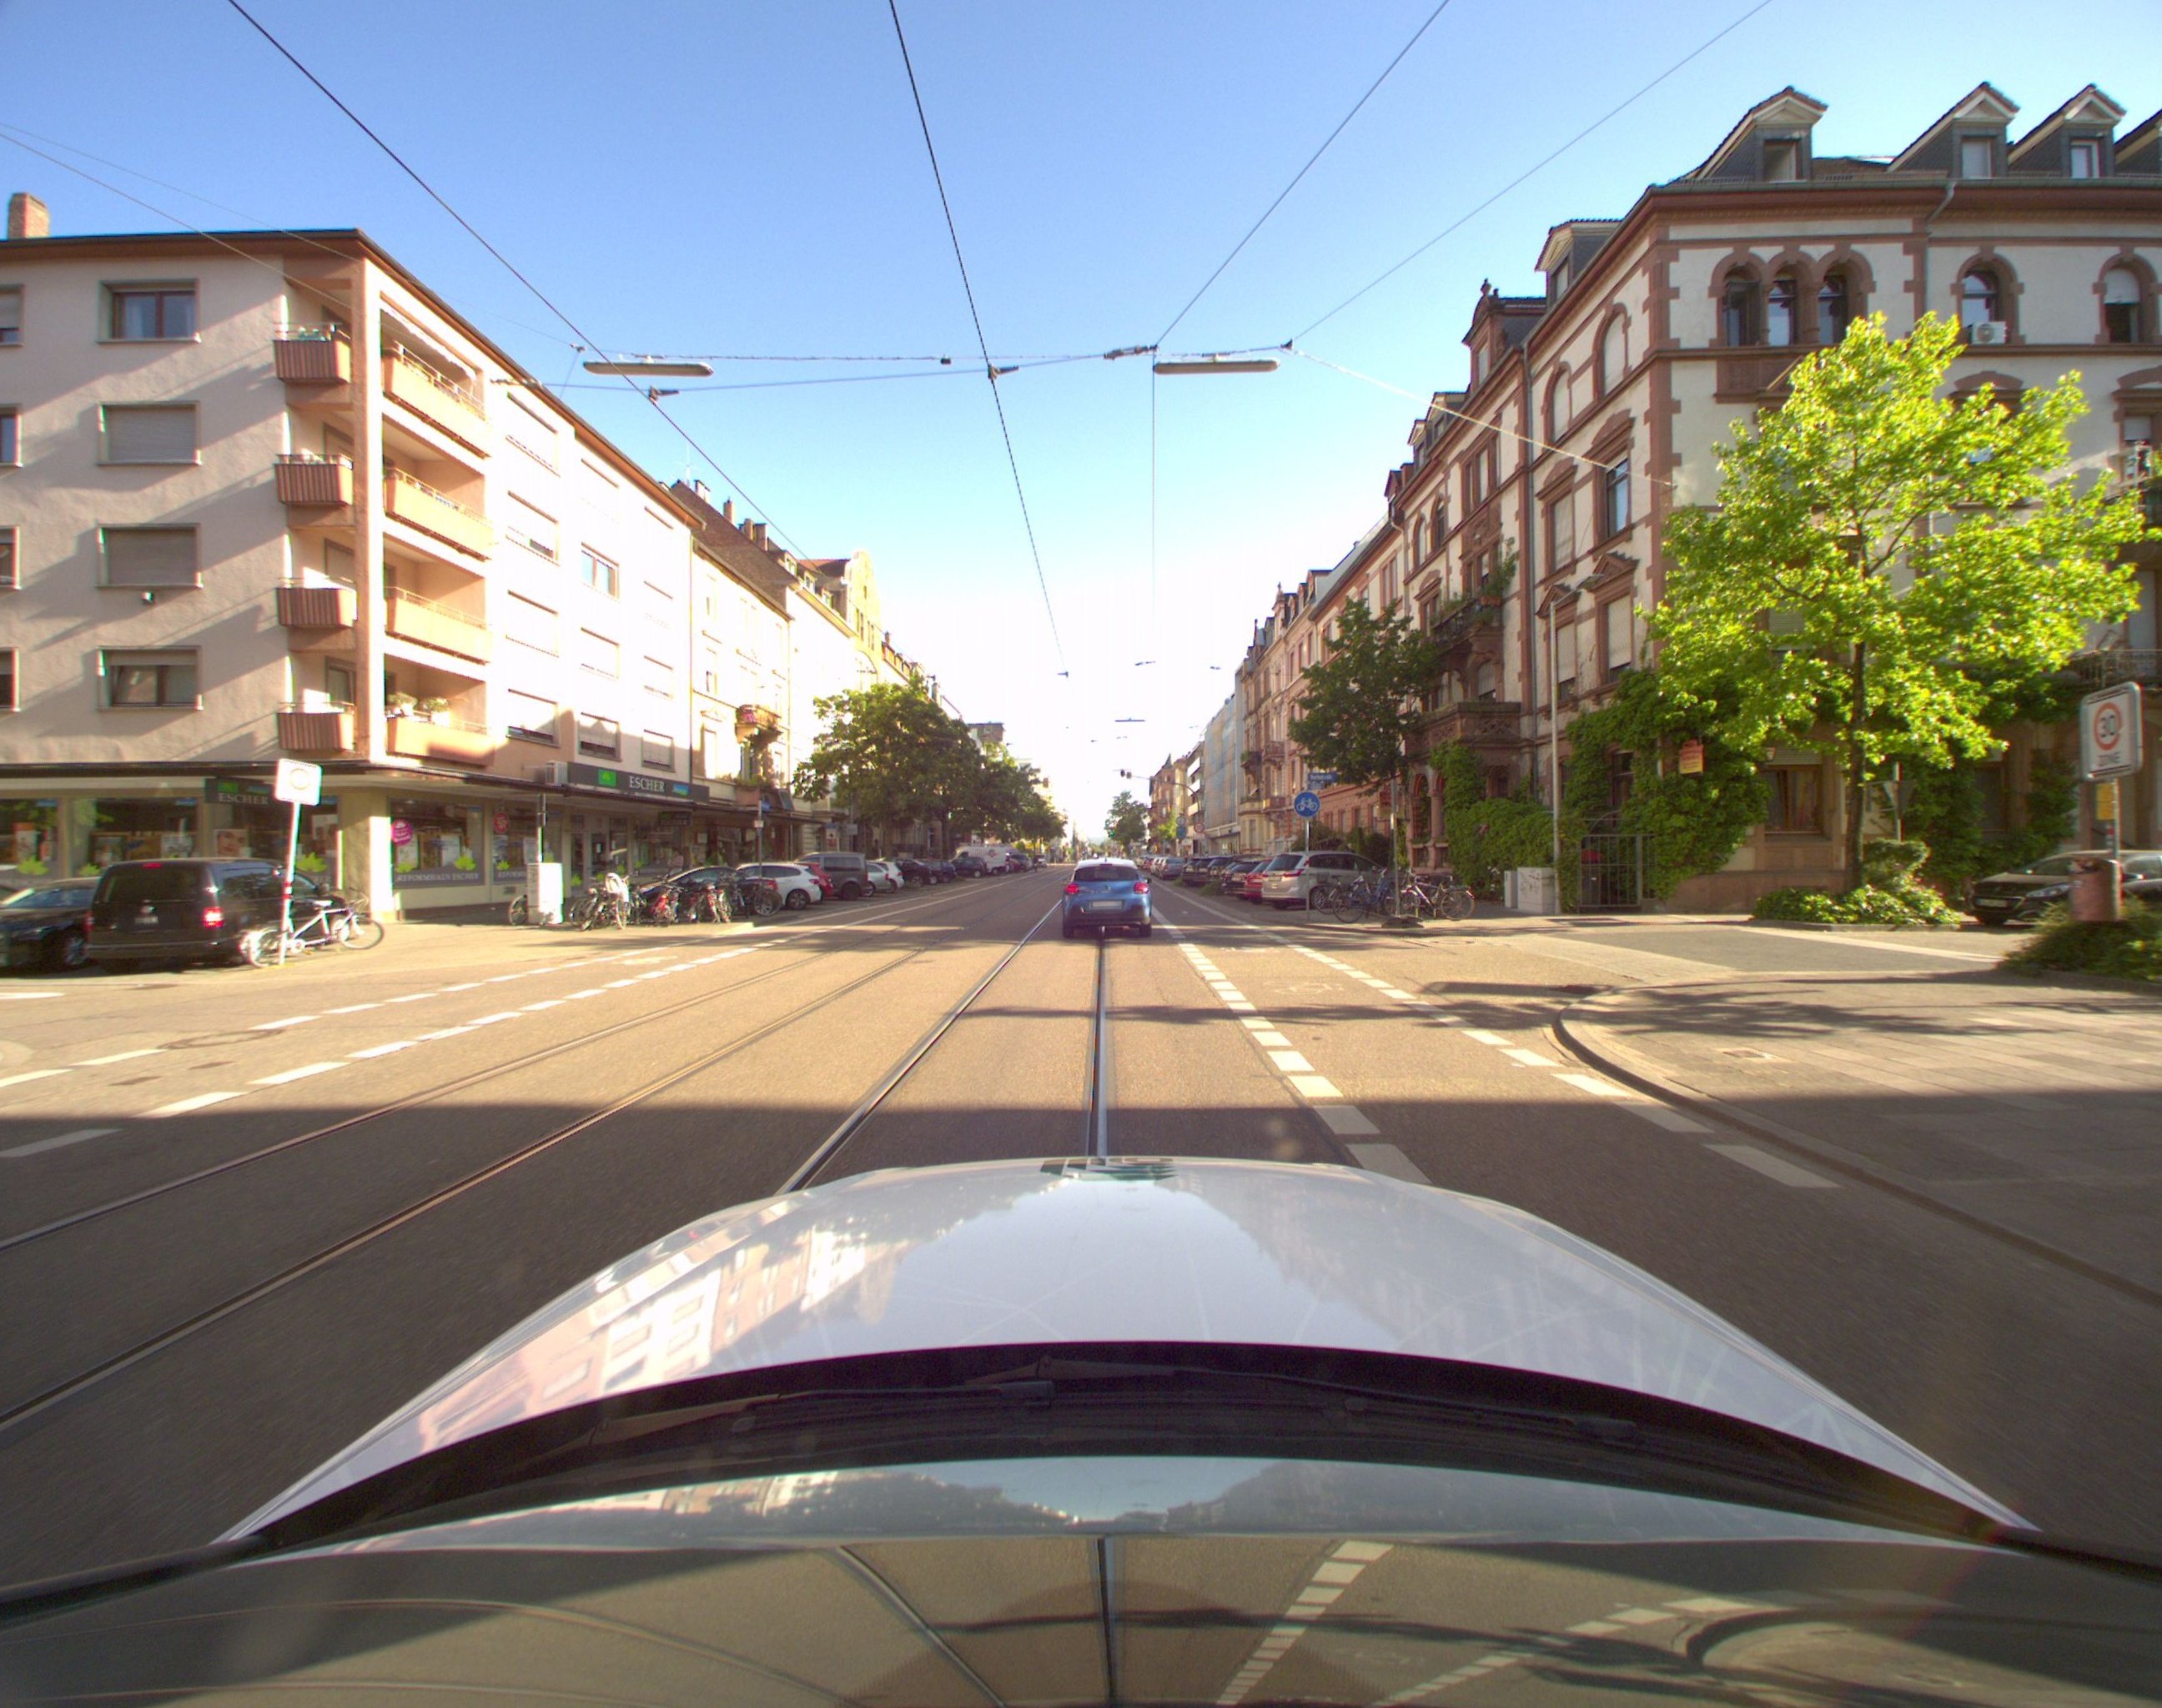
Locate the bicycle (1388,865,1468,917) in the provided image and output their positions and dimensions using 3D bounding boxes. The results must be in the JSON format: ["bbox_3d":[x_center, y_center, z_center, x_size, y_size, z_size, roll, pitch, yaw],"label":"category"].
[{"bbox_3d":[7.702,0.816,18.123,1.547,1.127,0.529,0,-1,8],"label":"bicycle"}]

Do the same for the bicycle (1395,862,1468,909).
[{"bbox_3d":[8.558,0.760,19.938,1.547,1.127,0.552,0,-1,8],"label":"bicycle"}]

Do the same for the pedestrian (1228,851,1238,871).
[{"bbox_3d":[12.329,0.557,65.955,0.709,1.607,0.654,0,-1,1],"label":"pedestrian"}]

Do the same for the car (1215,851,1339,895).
[{"bbox_3d":[7.564,0.723,31.447,4.337,1.596,2.029,0,-1,-23],"label":"car"}]

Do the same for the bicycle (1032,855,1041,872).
[{"bbox_3d":[-4.429,0.994,81.488,0.678,1.679,2.097,0,-1,2],"label":"bicycle"}]

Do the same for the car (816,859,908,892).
[{"bbox_3d":[-9.935,0.950,36.951,3.850,1.430,1.752,0,-1,-24],"label":"car"}]

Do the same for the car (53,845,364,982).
[{"bbox_3d":[-15.087,0.867,14.507,1.849,1.817,4.330,-3,4,-19],"label":"car"}]

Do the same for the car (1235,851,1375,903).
[{"bbox_3d":[7.133,0.708,25.928,4.004,1.536,1.904,0,-1,-23],"label":"car"}]

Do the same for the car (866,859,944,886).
[{"bbox_3d":[-10.145,1.045,46.975,4.013,1.489,1.788,0,-1,-31],"label":"car"}]

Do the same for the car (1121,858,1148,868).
[{"bbox_3d":[8.050,1.307,122.140,3.664,1.534,1.778,0,-1,-18],"label":"car"}]

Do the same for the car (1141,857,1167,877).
[{"bbox_3d":[5.824,1.022,65.357,1.866,1.596,4.002,0,-1,2],"label":"car"}]

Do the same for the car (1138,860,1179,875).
[{"bbox_3d":[7.912,1.381,82.627,3.743,1.521,1.949,0,-1,-32],"label":"car"}]

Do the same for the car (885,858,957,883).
[{"bbox_3d":[-9.813,0.975,50.044,4.008,1.489,1.790,0,-1,-27],"label":"car"}]

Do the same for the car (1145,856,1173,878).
[{"bbox_3d":[5.793,0.973,60.951,1.866,1.596,4.002,0,-1,2],"label":"car"}]

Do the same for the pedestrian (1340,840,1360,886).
[{"bbox_3d":[10.510,0.344,31.806,0.516,1.778,0.864,0,-1,2],"label":"pedestrian"}]

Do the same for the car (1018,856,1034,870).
[{"bbox_3d":[-6.598,1.111,97.702,1.742,1.618,4.408,0,-1,-1],"label":"car"}]

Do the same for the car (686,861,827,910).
[{"bbox_3d":[-9.936,0.914,25.018,3.804,1.400,1.737,0,-1,-31],"label":"car"}]

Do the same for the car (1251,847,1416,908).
[{"bbox_3d":[7.232,0.644,23.310,4.370,1.596,1.839,0,-1,-23],"label":"car"}]

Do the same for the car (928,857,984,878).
[{"bbox_3d":[-9.448,1.015,61.504,3.994,1.489,1.797,0,-1,-15],"label":"car"}]

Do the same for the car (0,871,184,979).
[{"bbox_3d":[-17.788,1.134,14.079,1.854,1.392,3.964,0,3,-29],"label":"car"}]

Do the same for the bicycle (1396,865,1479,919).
[{"bbox_3d":[7.645,0.803,17.527,1.547,1.127,0.552,0,-1,8],"label":"bicycle"}]

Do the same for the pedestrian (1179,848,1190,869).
[{"bbox_3d":[7.875,0.360,61.991,0.709,1.607,0.654,0,-1,1],"label":"pedestrian"}]

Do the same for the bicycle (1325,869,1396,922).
[{"bbox_3d":[6.102,0.886,17.787,1.399,1.127,0.549,0,-1,-14],"label":"bicycle"}]

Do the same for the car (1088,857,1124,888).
[{"bbox_3d":[1.358,0.957,43.594,1.866,1.596,4.002,0,-1,2],"label":"car"}]

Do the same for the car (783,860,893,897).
[{"bbox_3d":[-9.991,0.977,33.556,4.032,1.449,1.682,0,-1,-31],"label":"car"}]

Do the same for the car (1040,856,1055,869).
[{"bbox_3d":[-4.705,1.255,116.226,1.825,1.848,4.215,0,-1,2],"label":"car"}]

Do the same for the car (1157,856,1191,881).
[{"bbox_3d":[6.130,0.955,54.026,1.866,1.596,4.721,0,-1,2],"label":"car"}]

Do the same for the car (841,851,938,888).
[{"bbox_3d":[-9.701,0.771,41.290,4.381,1.783,1.976,0,-1,-31],"label":"car"}]

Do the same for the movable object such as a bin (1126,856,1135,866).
[{"bbox_3d":[8.032,1.151,132.413,1.389,1.483,1.656,0,-1,1],"label":"movable object such as a bin"}]

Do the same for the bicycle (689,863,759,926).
[{"bbox_3d":[-8.497,0.929,19.515,0.680,1.319,2.434,0,2,-2],"label":"bicycle"}]

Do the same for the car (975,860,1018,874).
[{"bbox_3d":[-8.068,1.223,77.428,3.814,1.265,1.504,0,-1,-24],"label":"car"}]

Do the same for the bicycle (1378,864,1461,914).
[{"bbox_3d":[7.759,0.790,18.722,1.665,1.127,0.552,0,-1,8],"label":"bicycle"}]

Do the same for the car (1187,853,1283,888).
[{"bbox_3d":[7.315,0.753,38.733,4.004,1.596,2.071,0,-1,-23],"label":"car"}]

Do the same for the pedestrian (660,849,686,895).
[{"bbox_3d":[-14.659,0.640,29.289,0.567,1.652,0.641,0,-1,2],"label":"pedestrian"}]

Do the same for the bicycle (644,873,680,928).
[{"bbox_3d":[-9.826,1.055,19.062,0.685,1.123,1.870,-1,2,-29],"label":"bicycle"}]

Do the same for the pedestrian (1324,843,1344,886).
[{"bbox_3d":[9.889,0.422,31.860,0.516,1.649,0.864,0,-1,2],"label":"pedestrian"}]

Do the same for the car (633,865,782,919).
[{"bbox_3d":[-10.103,0.975,22.079,3.483,1.337,1.608,1,-1,-33],"label":"car"}]

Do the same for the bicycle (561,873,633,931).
[{"bbox_3d":[-10.951,1.049,18.384,2.405,1.109,0.688,2,2,42],"label":"bicycle"}]

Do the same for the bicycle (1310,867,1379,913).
[{"bbox_3d":[6.357,0.869,19.660,1.547,1.079,0.308,0,-1,7],"label":"bicycle"}]

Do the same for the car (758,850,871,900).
[{"bbox_3d":[-10.048,0.774,30.733,3.831,1.785,1.781,0,-1,-27],"label":"car"}]

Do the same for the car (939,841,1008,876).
[{"bbox_3d":[-8.816,0.393,67.007,5.402,2.749,1.789,0,-1,-29],"label":"car"}]

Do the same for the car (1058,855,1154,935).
[{"bbox_3d":[0.498,0.765,16.637,1.756,1.441,3.557,0,-1,1],"label":"car"}]

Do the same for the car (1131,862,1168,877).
[{"bbox_3d":[7.126,1.649,85.247,3.463,1.555,1.807,0,-1,-30],"label":"car"}]

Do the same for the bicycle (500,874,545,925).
[{"bbox_3d":[-13.017,1.032,19.007,0.404,1.109,1.825,0,-1,-19],"label":"bicycle"}]

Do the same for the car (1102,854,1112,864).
[{"bbox_3d":[3.764,0.792,118.770,1.417,1.432,3.140,0,-1,2],"label":"car"}]

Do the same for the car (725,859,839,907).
[{"bbox_3d":[-10.181,0.944,27.757,3.479,1.473,1.634,-1,0,-28],"label":"car"}]

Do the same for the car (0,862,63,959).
[{"bbox_3d":[-20.630,1.104,14.630,1.451,1.702,3.965,1,2,-28],"label":"car"}]

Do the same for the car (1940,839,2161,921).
[{"bbox_3d":[18.991,0.469,15.230,3.971,1.453,1.713,0,-1,2],"label":"car"}]

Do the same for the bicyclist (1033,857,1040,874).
[{"bbox_3d":[-4.433,1.124,81.678,0.632,1.681,0.727,0,-1,2],"label":"bicyclist"}]

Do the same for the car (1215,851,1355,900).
[{"bbox_3d":[7.121,0.719,28.477,4.453,1.596,2.072,0,-1,-23],"label":"car"}]

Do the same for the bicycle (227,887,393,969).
[{"bbox_3d":[-13.165,1.216,14.046,0.680,1.109,2.432,0,2,-5],"label":"bicycle"}]

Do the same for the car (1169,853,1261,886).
[{"bbox_3d":[6.907,0.781,42.034,4.321,1.596,1.967,0,-1,-23],"label":"car"}]

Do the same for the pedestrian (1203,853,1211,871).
[{"bbox_3d":[12.549,0.814,80.946,0.690,1.756,0.678,0,-1,1],"label":"pedestrian"}]

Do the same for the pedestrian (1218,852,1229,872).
[{"bbox_3d":[11.484,0.644,65.795,0.709,1.607,0.654,-3,-1,1],"label":"pedestrian"}]

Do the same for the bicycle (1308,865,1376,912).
[{"bbox_3d":[6.399,0.841,20.002,1.551,1.127,0.295,0,-1,7],"label":"bicycle"}]

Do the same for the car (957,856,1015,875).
[{"bbox_3d":[-8.307,0.979,71.463,4.786,1.618,1.695,0,-1,-31],"label":"car"}]

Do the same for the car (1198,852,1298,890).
[{"bbox_3d":[7.452,0.733,36.331,4.004,1.596,1.944,0,-1,-23],"label":"car"}]

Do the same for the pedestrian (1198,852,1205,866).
[{"bbox_3d":[13.827,0.533,93.194,0.690,1.588,0.678,0,-1,1],"label":"pedestrian"}]
